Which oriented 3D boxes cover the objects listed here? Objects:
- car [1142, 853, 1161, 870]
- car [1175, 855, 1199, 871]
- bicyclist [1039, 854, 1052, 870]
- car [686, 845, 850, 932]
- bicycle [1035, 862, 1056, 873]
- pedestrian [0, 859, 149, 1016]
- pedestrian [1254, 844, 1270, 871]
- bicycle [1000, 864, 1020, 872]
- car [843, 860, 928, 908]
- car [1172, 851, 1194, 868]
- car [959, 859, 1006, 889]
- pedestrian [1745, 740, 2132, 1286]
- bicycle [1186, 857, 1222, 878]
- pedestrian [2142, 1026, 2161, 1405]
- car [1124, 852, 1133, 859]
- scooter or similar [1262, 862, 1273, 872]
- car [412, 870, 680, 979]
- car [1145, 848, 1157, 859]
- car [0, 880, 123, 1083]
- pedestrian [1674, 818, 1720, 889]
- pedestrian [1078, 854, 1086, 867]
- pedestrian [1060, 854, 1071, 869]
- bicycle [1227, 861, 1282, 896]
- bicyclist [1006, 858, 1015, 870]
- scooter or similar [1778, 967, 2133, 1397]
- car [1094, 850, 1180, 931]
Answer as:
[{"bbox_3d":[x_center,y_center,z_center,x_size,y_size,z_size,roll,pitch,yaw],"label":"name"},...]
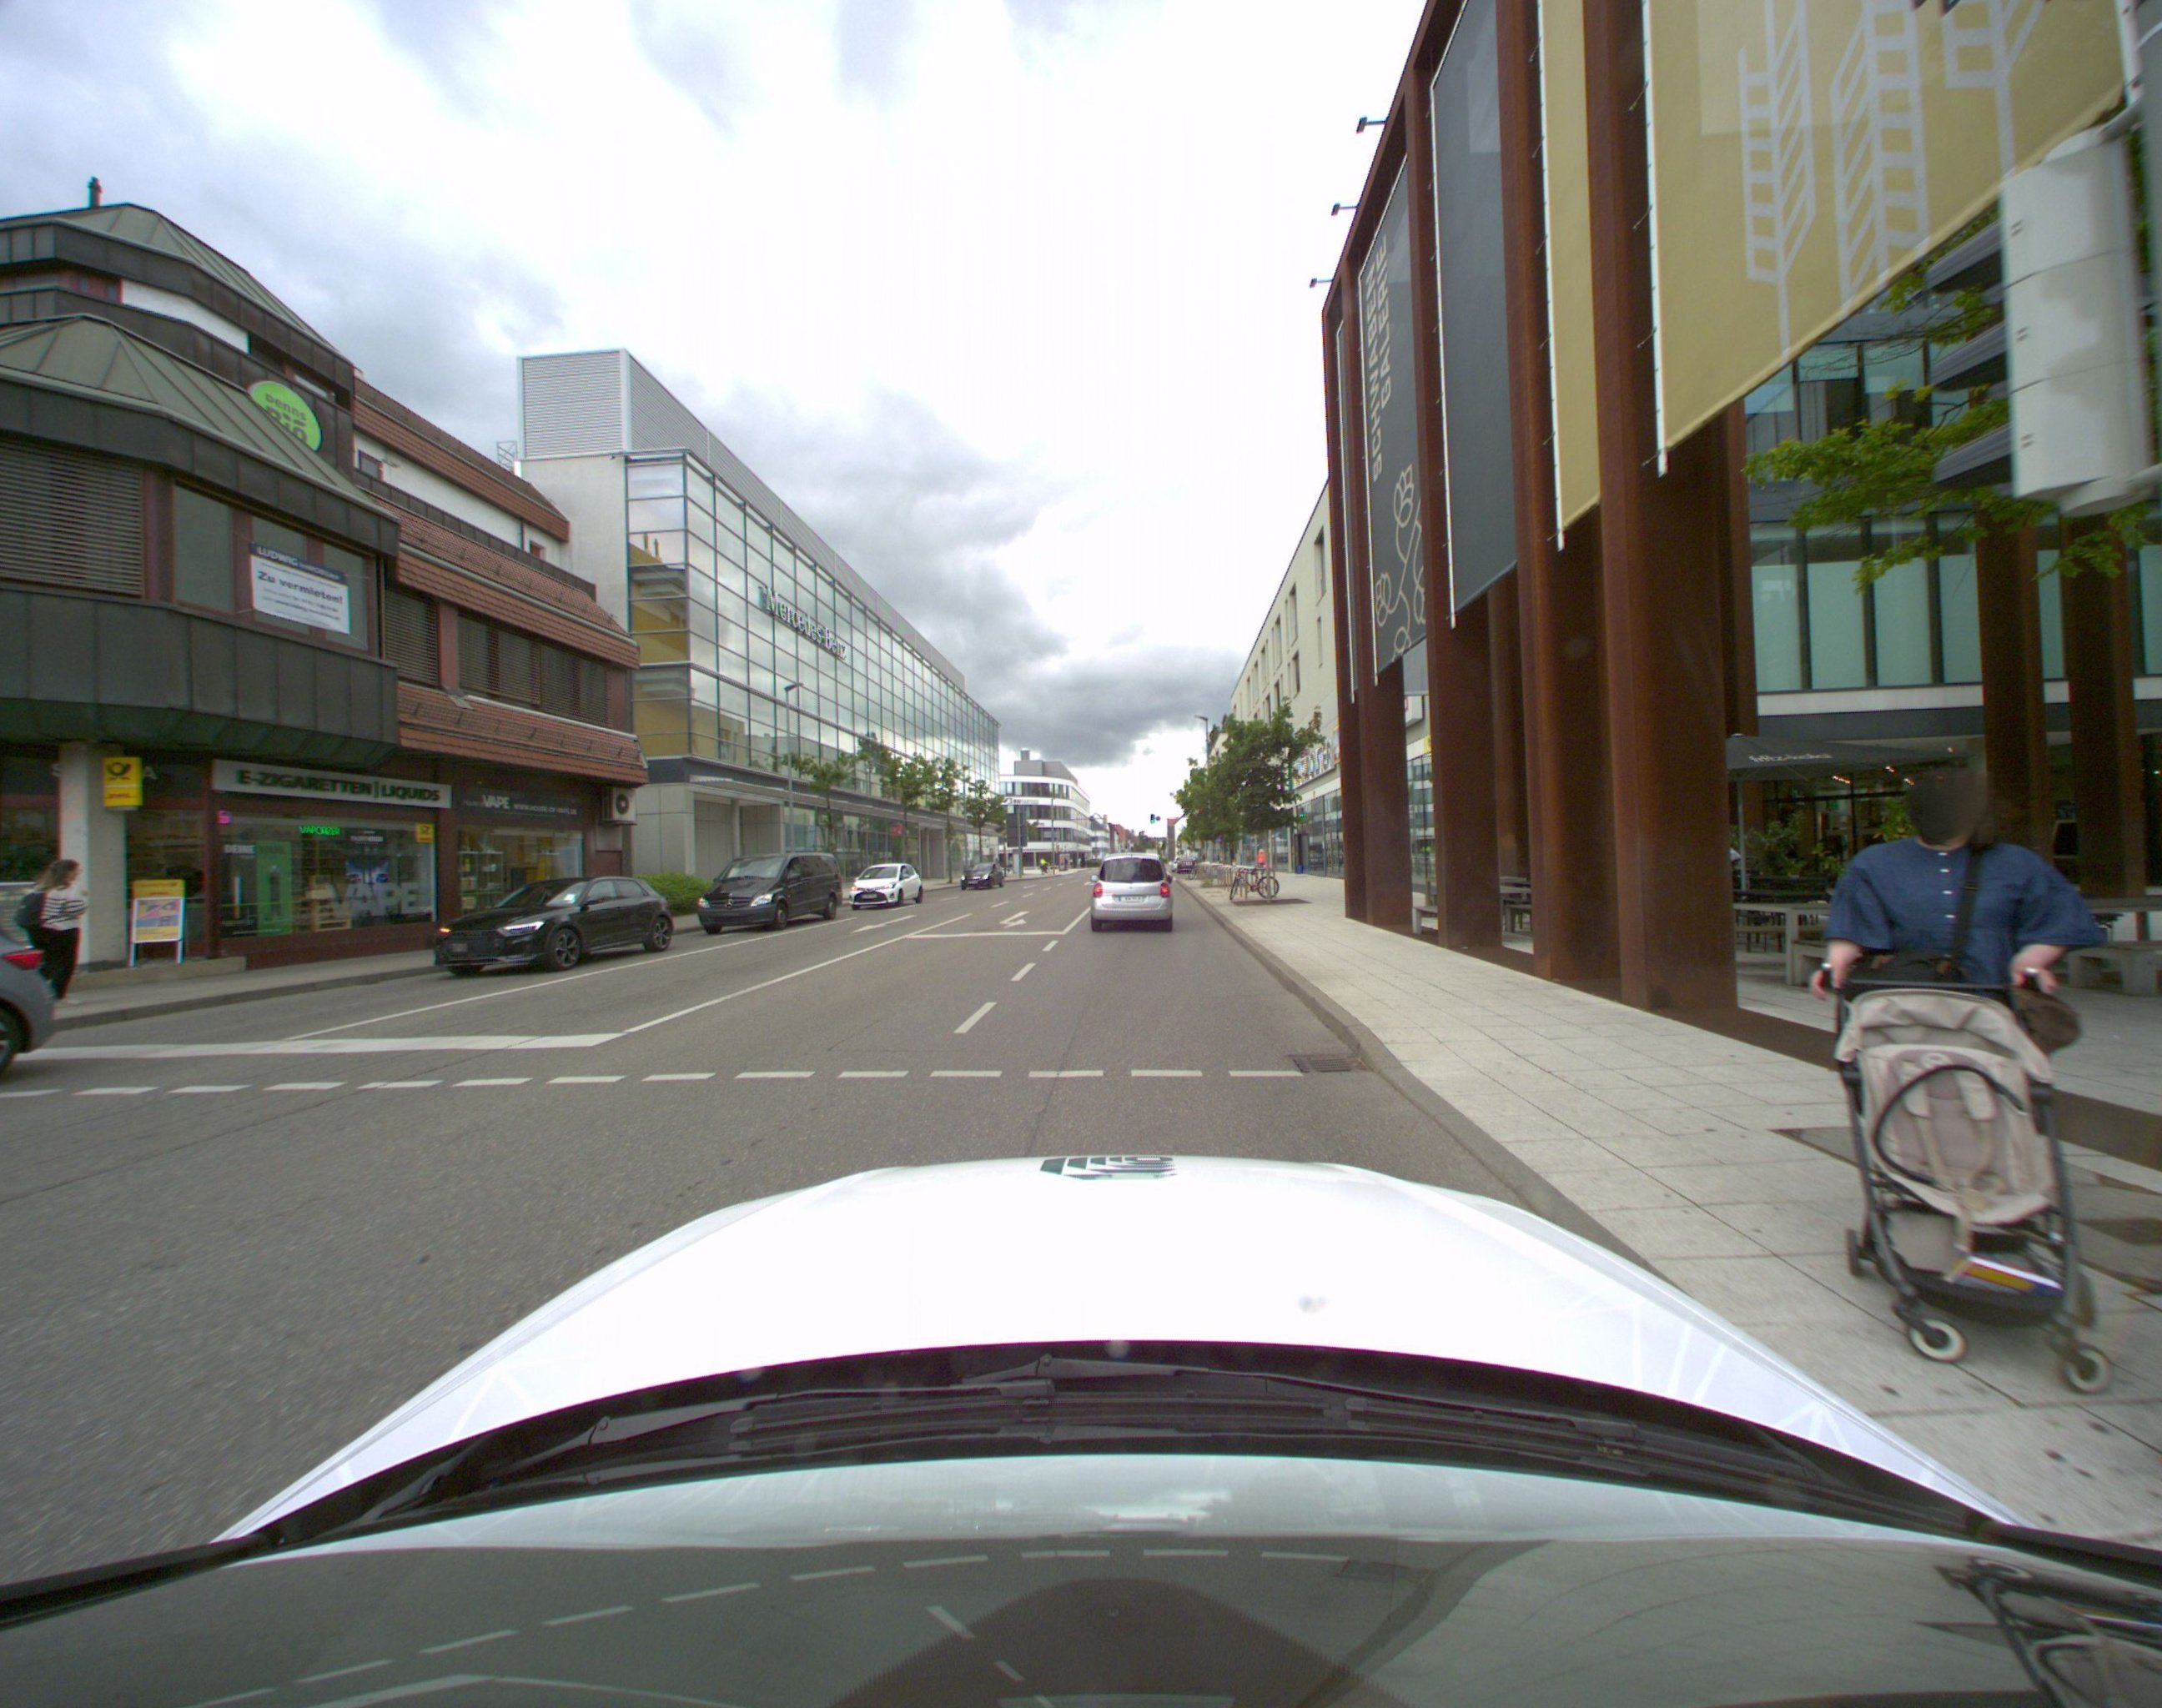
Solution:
[{"bbox_3d":[6.517,0.645,75.484,1.662,1.554,3.646,0,0,4],"label":"car"},{"bbox_3d":[8.884,0.732,68.580,1.868,1.335,4.006,0,0,5],"label":"car"},{"bbox_3d":[-3.682,0.848,84.202,1.012,1.660,0.924,1,-1,-28],"label":"bicyclist"},{"bbox_3d":[-7.892,0.783,21.184,1.857,1.909,5.120,-3,0,4],"label":"car"},{"bbox_3d":[-3.681,1.391,84.183,1.011,1.018,3.102,1,-1,-28],"label":"bicycle"},{"bbox_3d":[-11.566,0.923,9.361,0.746,1.693,0.777,-2,0,0],"label":"pedestrian"},{"bbox_3d":[11.014,0.224,49.520,0.707,1.574,0.814,-5,-1,5],"label":"pedestrian"},{"bbox_3d":[-7.994,1.584,91.523,0.834,0.898,2.495,-2,0,-41],"label":"bicycle"},{"bbox_3d":[-6.760,0.980,28.592,1.652,1.465,4.005,-3,0,5],"label":"car"},{"bbox_3d":[9.333,0.472,75.004,1.868,1.508,4.006,0,0,5],"label":"car"},{"bbox_3d":[-5.394,1.053,44.953,1.652,1.480,4.006,-3,0,6],"label":"car"},{"bbox_3d":[3.021,0.480,2.991,0.861,1.646,0.684,-2,0,39],"label":"pedestrian"},{"bbox_3d":[6.680,0.728,44.322,1.817,1.074,0.753,-3,0,3],"label":"bicycle"},{"bbox_3d":[2.787,0.884,1.768,0.360,0.924,0.455,-2,0,7],"label":"pedestrian"},{"bbox_3d":[13.370,0.363,228.428,2.160,2.013,4.264,-2,0,5],"label":"car"},{"bbox_3d":[11.150,0.751,48.654,0.547,0.546,0.643,-5,0,5],"label":"scooter or similar"},{"bbox_3d":[-8.659,1.058,13.675,1.695,1.443,4.003,-2,0,3],"label":"car"},{"bbox_3d":[13.385,-0.112,154.884,2.160,2.013,4.264,-2,0,5],"label":"car"},{"bbox_3d":[-9.238,1.047,4.793,1.750,1.517,4.392,-3,0,5],"label":"car"},{"bbox_3d":[14.714,-0.008,19.463,0.519,1.632,0.737,-2,-1,6],"label":"pedestrian"},{"bbox_3d":[0.138,0.946,121.667,0.956,1.833,1.252,-2,0,5],"label":"pedestrian"},{"bbox_3d":[-2.006,1.005,103.634,1.244,1.833,0.962,-2,0,-4],"label":"pedestrian"},{"bbox_3d":[5.177,0.725,24.390,1.552,0.992,0.754,-2,0,7],"label":"bicycle"},{"bbox_3d":[-7.917,1.095,91.426,0.834,1.327,0.644,-1,-1,-41],"label":"bicyclist"},{"bbox_3d":[2.577,0.886,2.490,0.627,0.961,0.625,-2,0,38],"label":"scooter or similar"},{"bbox_3d":[1.168,0.704,17.616,1.663,1.554,3.644,0,0,2],"label":"car"}]
